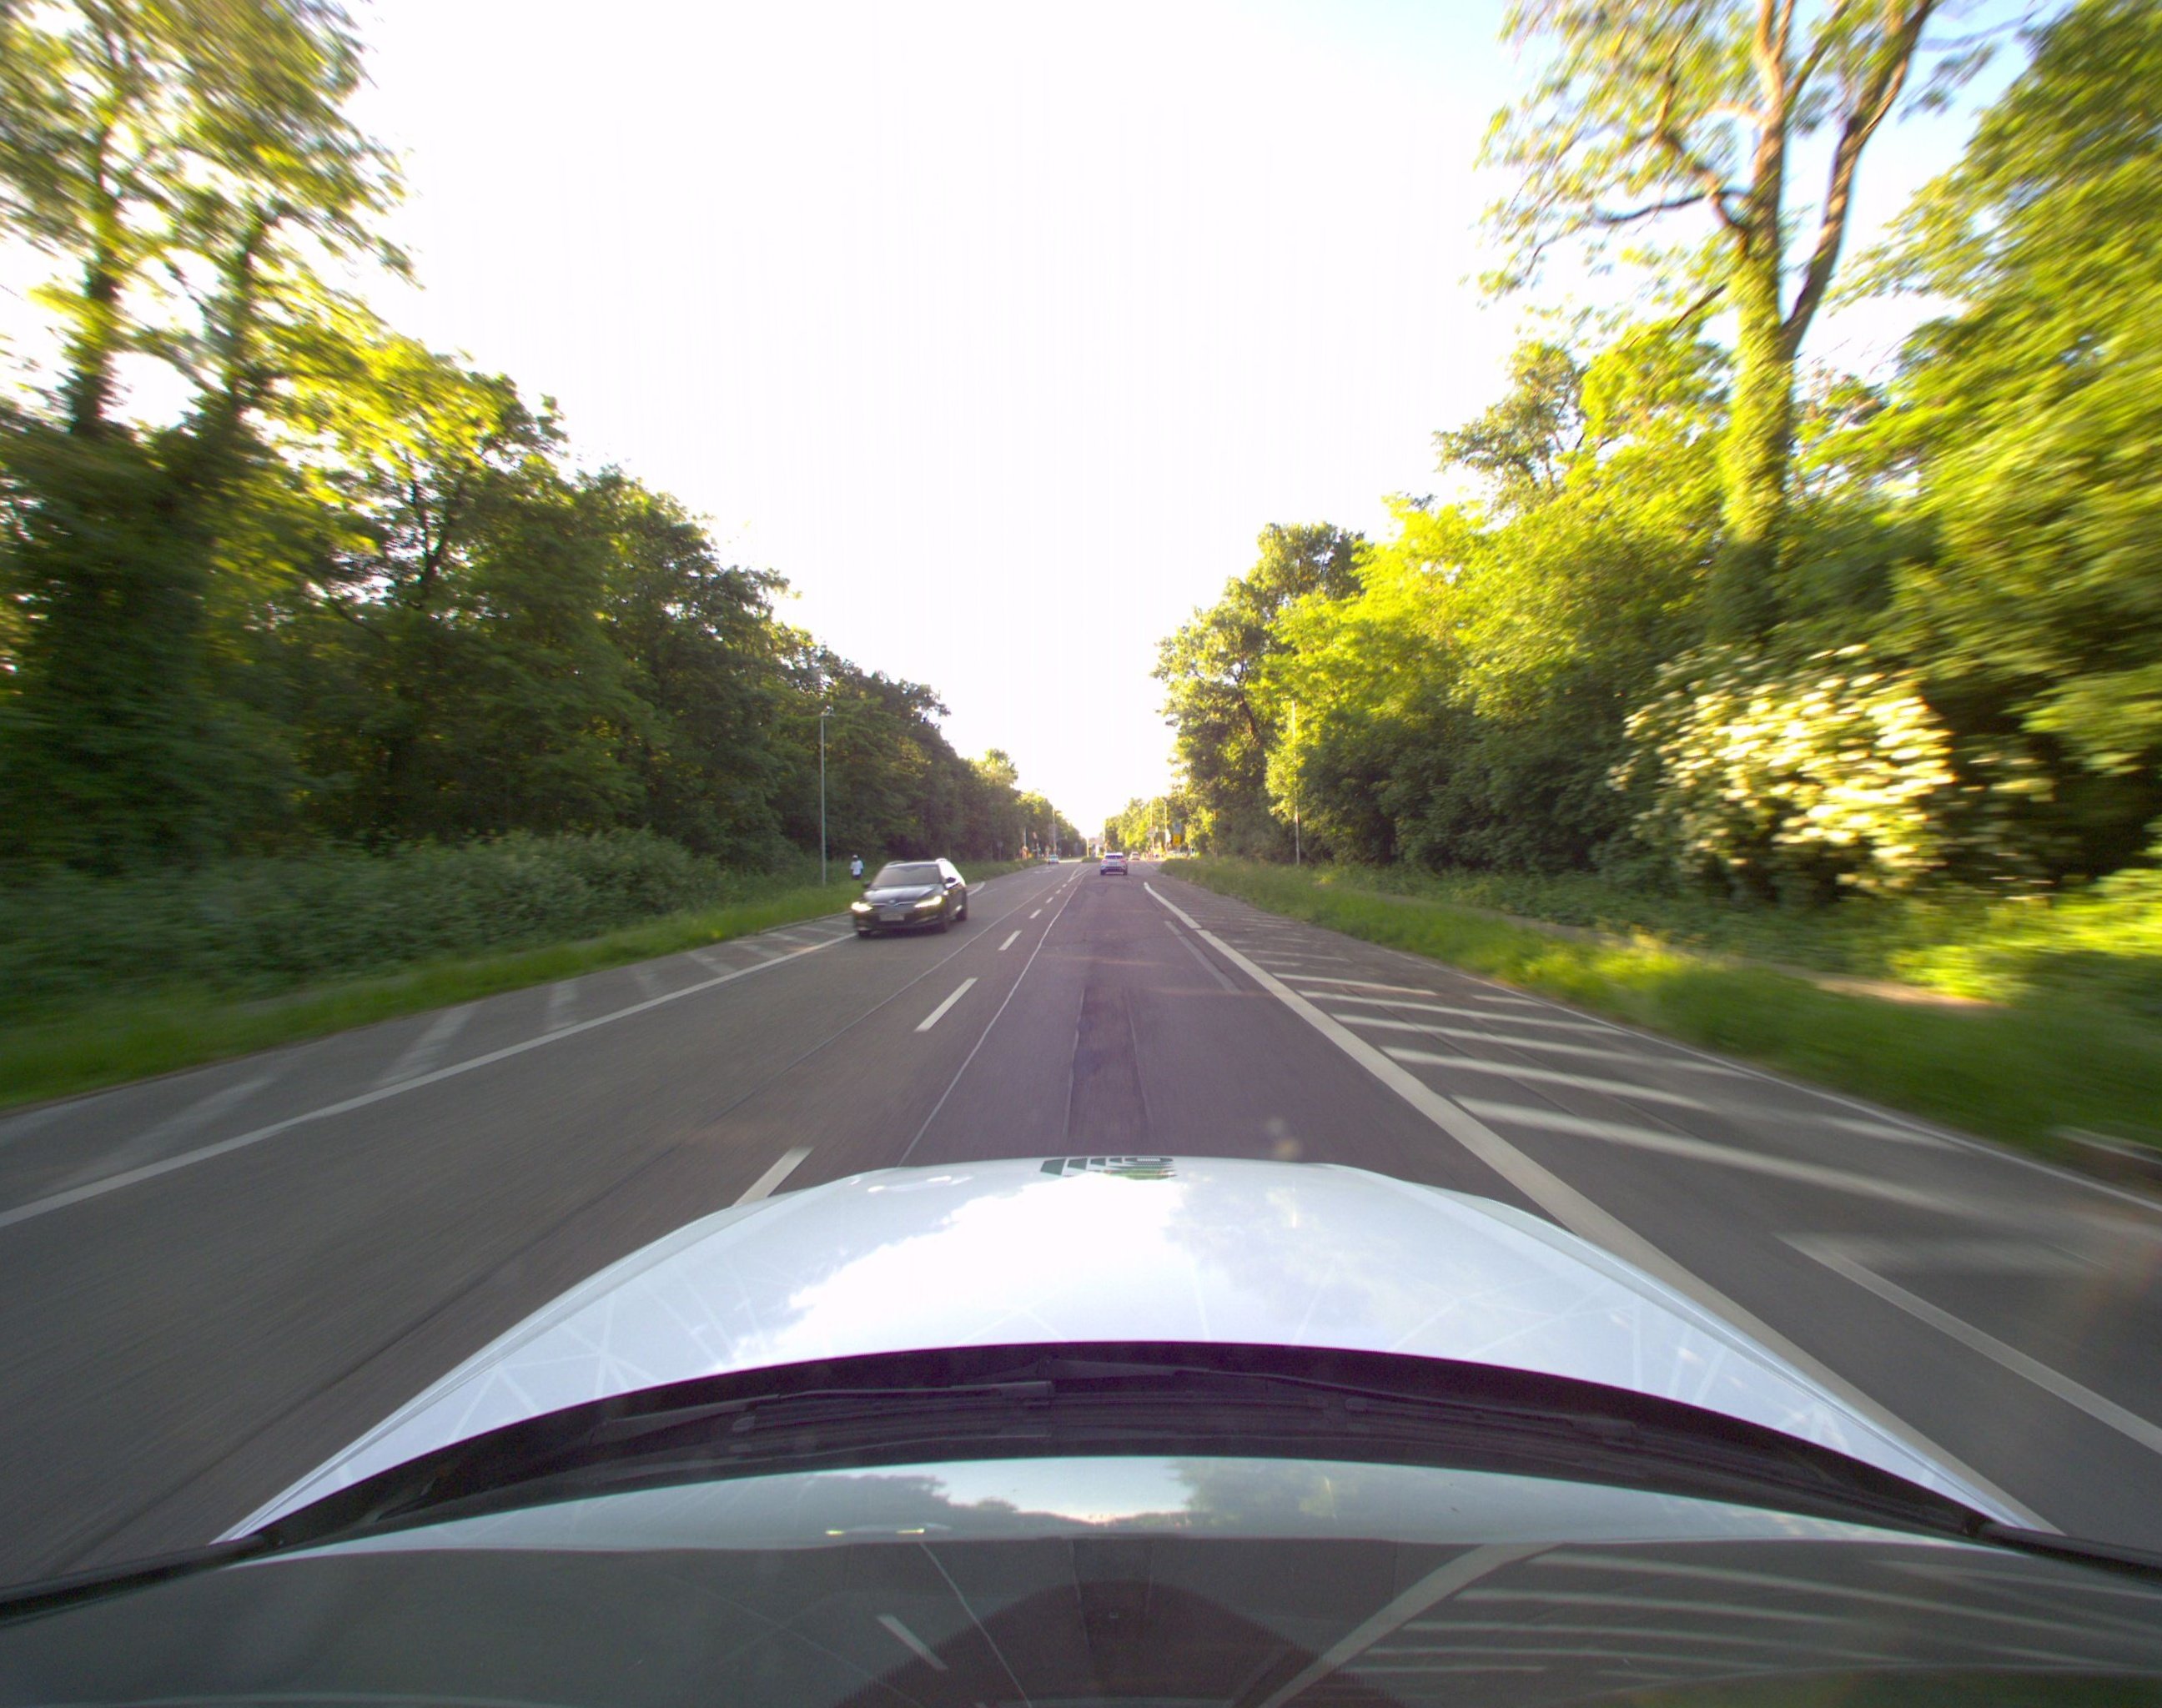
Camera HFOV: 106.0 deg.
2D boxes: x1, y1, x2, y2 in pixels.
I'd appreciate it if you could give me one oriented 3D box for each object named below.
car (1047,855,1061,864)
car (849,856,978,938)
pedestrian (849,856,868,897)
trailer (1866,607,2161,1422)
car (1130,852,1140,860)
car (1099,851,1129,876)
[{"bbox_3d":[-4.417,0.908,133.055,1.986,1.464,4.001,0,0,1],"label":"car"},{"bbox_3d":[-3.493,0.830,17.859,1.672,1.490,4.691,-2,0,2],"label":"car"},{"bbox_3d":[-10.883,1.085,39.895,0.691,2.013,0.713,0,0,2],"label":"pedestrian"},{"bbox_3d":[3.671,0.443,0.818,1.494,2.235,4.551,0,0,2],"label":"trailer"},{"bbox_3d":[10.517,0.384,158.571,1.986,1.618,4.002,0,0,2],"label":"car"},{"bbox_3d":[2.296,0.645,57.060,1.986,1.640,4.001,-2,0,1],"label":"car"}]
